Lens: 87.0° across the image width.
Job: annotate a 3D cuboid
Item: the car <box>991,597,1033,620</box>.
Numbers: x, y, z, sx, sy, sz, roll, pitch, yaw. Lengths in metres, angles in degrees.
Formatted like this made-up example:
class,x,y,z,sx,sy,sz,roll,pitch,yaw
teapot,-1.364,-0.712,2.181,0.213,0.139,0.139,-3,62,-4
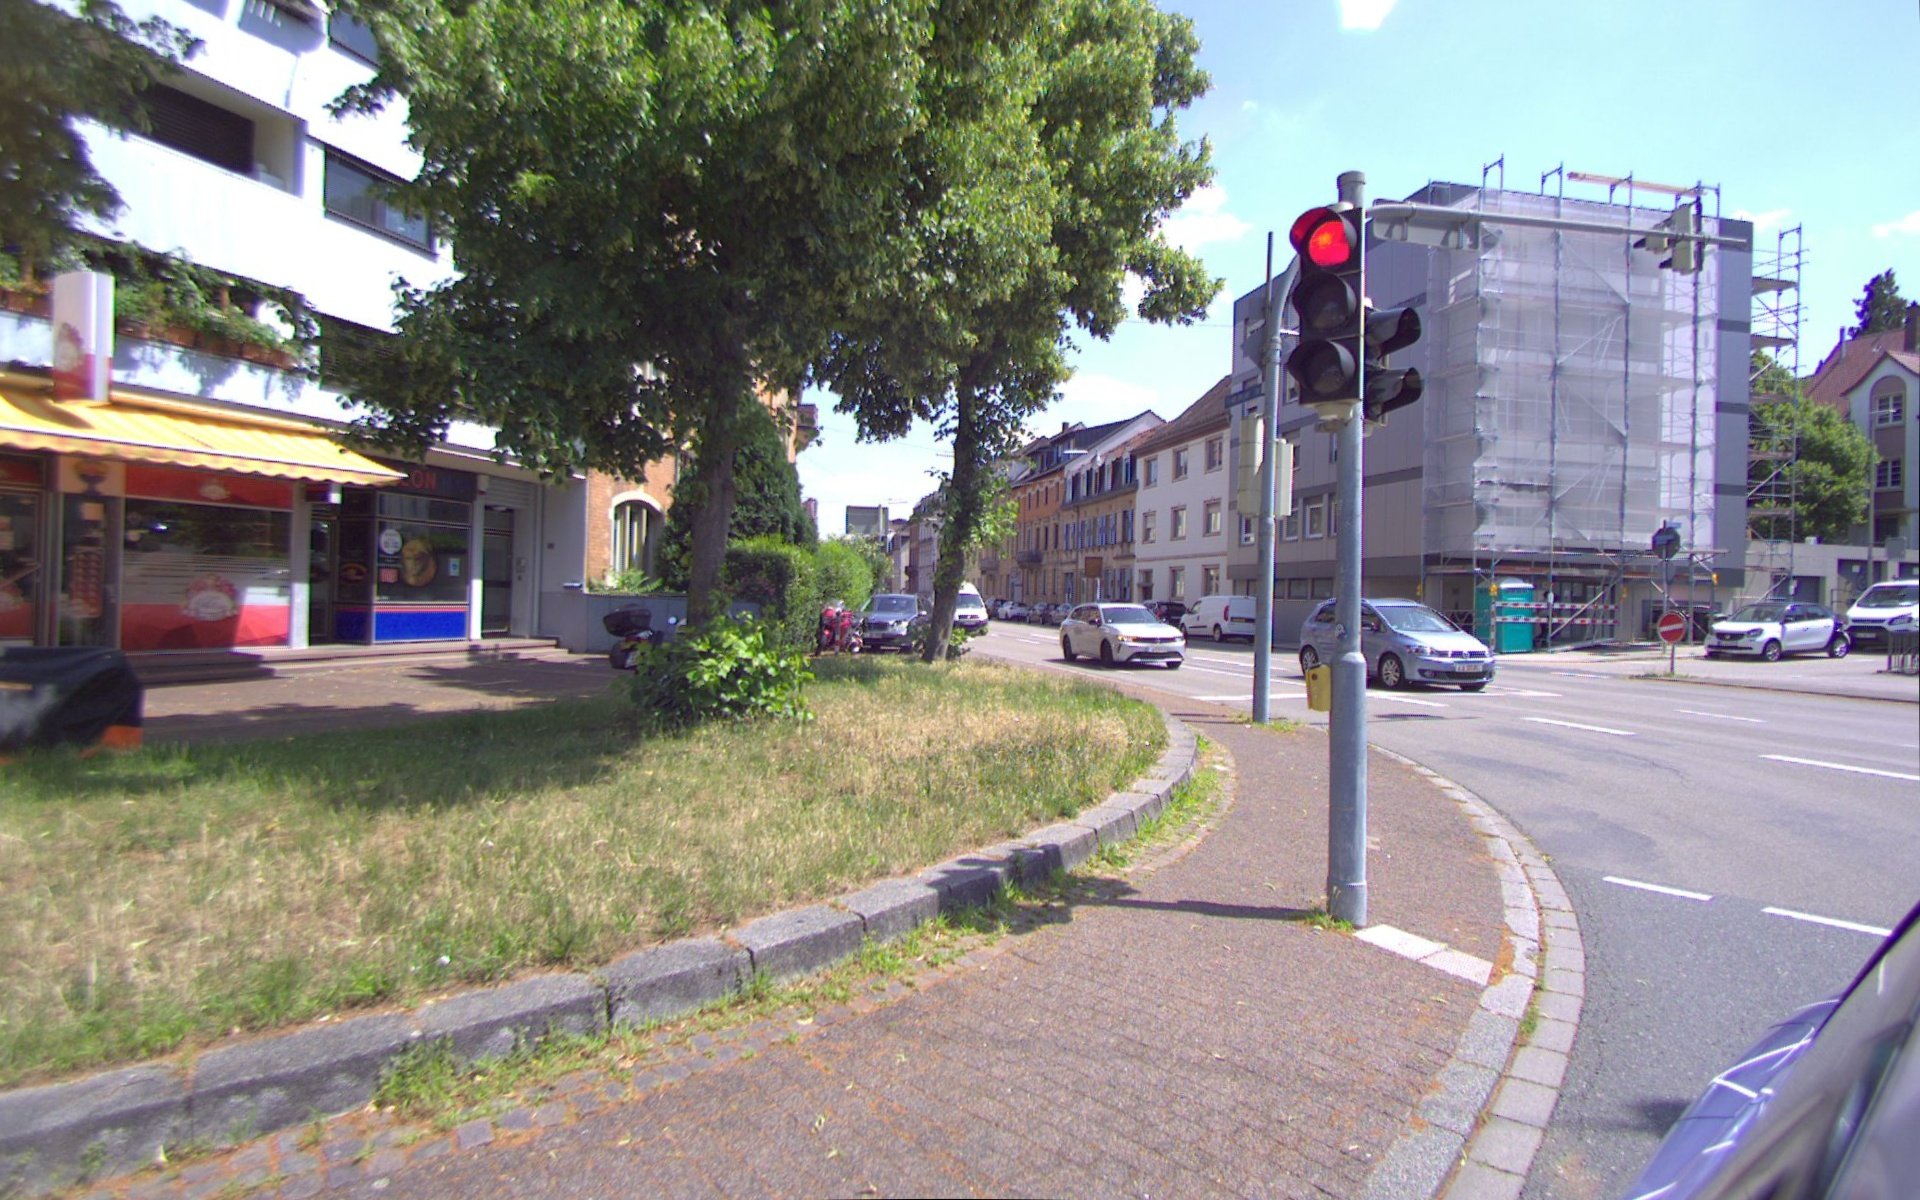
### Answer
class,x,y,z,sx,sy,sz,roll,pitch,yaw
car,3.729,0.621,73.236,1.832,1.444,4.339,5,0,-12

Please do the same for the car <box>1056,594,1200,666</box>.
class,x,y,z,sx,sy,sz,roll,pitch,yaw
car,3.838,0.642,23.977,1.866,1.516,4.496,1,0,-12

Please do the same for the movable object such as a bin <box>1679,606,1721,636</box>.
class,x,y,z,sx,sy,sz,roll,pitch,yaw
movable object such as a bin,23.696,0.660,32.416,0.725,0.938,0.827,0,0,-10

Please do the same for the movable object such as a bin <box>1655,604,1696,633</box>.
class,x,y,z,sx,sy,sz,roll,pitch,yaw
movable object such as a bin,23.613,0.601,33.413,0.725,0.938,0.827,0,0,-10

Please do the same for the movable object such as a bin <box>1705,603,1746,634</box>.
class,x,y,z,sx,sy,sz,roll,pitch,yaw
movable object such as a bin,23.873,0.565,31.578,0.725,0.938,0.705,0,0,-10

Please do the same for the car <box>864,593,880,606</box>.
class,x,y,z,sx,sy,sz,roll,pitch,yaw
car,-11.506,-0.102,132.361,1.671,1.594,4.320,2,0,-11

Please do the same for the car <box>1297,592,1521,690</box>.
class,x,y,z,sx,sy,sz,roll,pitch,yaw
car,7.980,0.650,18.428,1.723,1.588,4.007,0,0,-11

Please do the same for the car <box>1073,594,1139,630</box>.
class,x,y,z,sx,sy,sz,roll,pitch,yaw
car,7.571,0.592,52.920,1.851,1.662,4.826,2,0,-11

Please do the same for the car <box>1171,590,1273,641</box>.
class,x,y,z,sx,sy,sz,roll,pitch,yaw
car,10.443,0.553,40.716,1.880,1.848,4.798,2,0,-13

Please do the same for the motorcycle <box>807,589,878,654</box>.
class,x,y,z,sx,sy,sz,roll,pitch,yaw
motorcycle,-2.544,0.470,22.198,0.918,1.319,2.273,2,-1,10

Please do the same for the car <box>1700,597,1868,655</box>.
class,x,y,z,sx,sy,sz,roll,pitch,yaw
car,22.647,0.678,27.846,3.661,1.465,1.761,0,0,-15

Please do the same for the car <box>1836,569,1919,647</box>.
class,x,y,z,sx,sy,sz,roll,pitch,yaw
car,27.952,0.134,28.937,4.908,2.039,2.004,-3,1,-17

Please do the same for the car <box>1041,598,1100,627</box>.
class,x,y,z,sx,sy,sz,roll,pitch,yaw
car,6.449,0.691,59.680,1.832,1.424,4.848,5,0,-14

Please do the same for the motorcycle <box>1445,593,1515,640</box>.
class,x,y,z,sx,sy,sz,roll,pitch,yaw
motorcycle,17.064,0.534,33.284,2.023,1.490,0.874,0,0,27

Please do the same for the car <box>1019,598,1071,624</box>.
class,x,y,z,sx,sy,sz,roll,pitch,yaw
car,5.407,0.675,64.988,1.831,1.424,4.340,5,0,-15

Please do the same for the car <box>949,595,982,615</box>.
class,x,y,z,sx,sy,sz,roll,pitch,yaw
car,0.430,0.394,89.497,1.832,1.571,4.509,5,0,-13

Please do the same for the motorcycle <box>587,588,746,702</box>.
class,x,y,z,sx,sy,sz,roll,pitch,yaw
motorcycle,-3.704,0.521,13.011,0.906,1.329,2.212,0,0,17

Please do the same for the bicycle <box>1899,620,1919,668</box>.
class,x,y,z,sx,sy,sz,roll,pitch,yaw
bicycle,20.204,0.925,20.535,0.390,0.979,1.722,1,0,-16

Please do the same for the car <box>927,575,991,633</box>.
class,x,y,z,sx,sy,sz,roll,pitch,yaw
car,-0.132,0.119,43.633,1.867,2.303,5.681,1,0,-9

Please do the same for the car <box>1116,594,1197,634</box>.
class,x,y,z,sx,sy,sz,roll,pitch,yaw
car,8.977,0.604,46.714,1.851,1.662,4.672,2,0,-13

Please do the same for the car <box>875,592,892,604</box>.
class,x,y,z,sx,sy,sz,roll,pitch,yaw
car,-10.994,-0.317,145.063,1.713,1.428,4.113,5,0,-14

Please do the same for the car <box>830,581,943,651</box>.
class,x,y,z,sx,sy,sz,roll,pitch,yaw
car,-1.754,0.430,26.026,1.810,1.568,5.142,2,-1,8

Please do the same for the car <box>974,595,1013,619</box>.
class,x,y,z,sx,sy,sz,roll,pitch,yaw
car,2.570,0.509,78.233,1.832,1.648,4.509,5,0,-13
